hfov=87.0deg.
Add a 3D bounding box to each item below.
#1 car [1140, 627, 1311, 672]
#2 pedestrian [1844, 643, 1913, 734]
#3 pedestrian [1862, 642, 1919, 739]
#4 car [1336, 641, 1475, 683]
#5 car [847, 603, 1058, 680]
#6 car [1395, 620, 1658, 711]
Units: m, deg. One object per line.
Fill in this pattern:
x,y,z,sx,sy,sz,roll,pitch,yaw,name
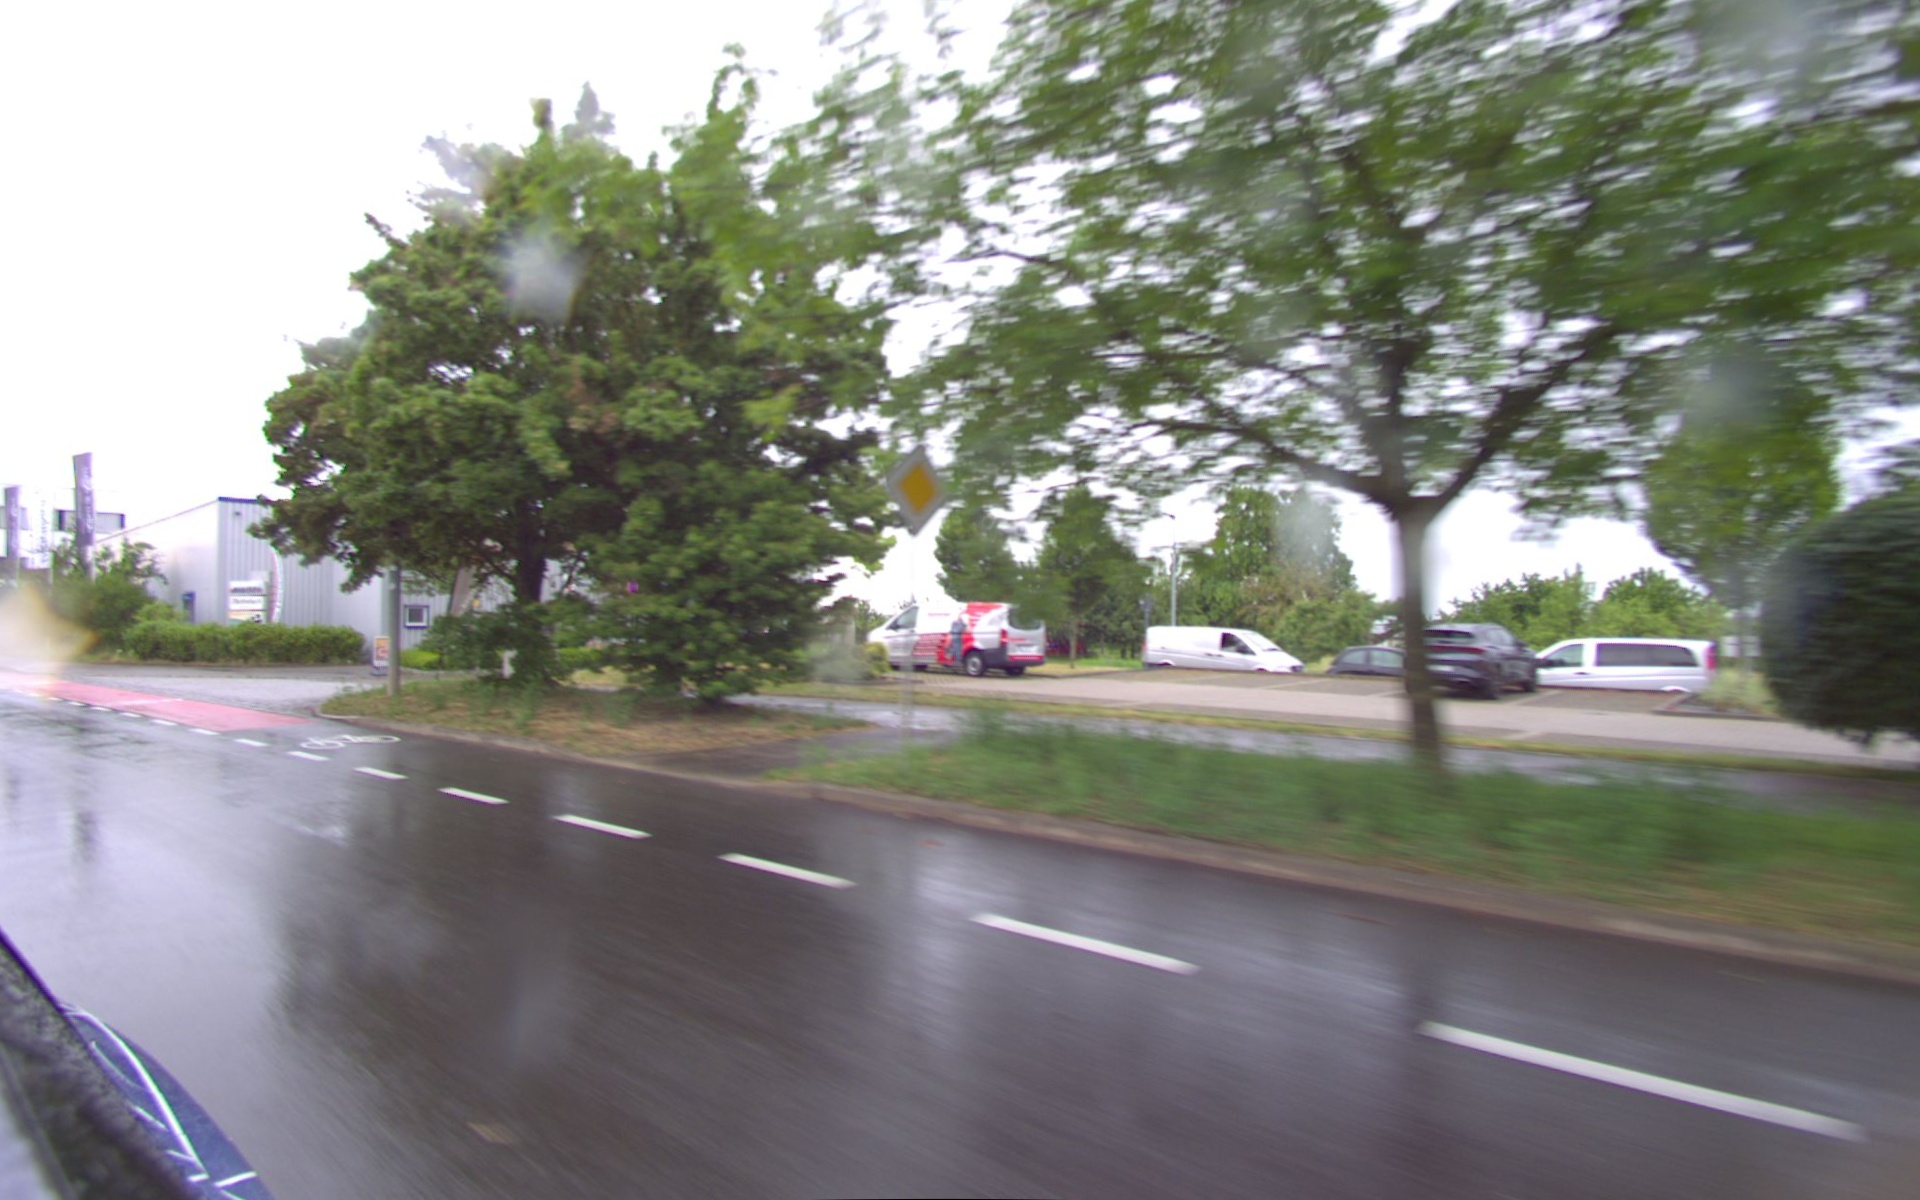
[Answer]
8.065,1.490,30.966,4.654,1.239,1.961,-3,-2,41,car
19.346,1.859,21.336,0.758,1.851,0.682,-2,-1,11,pedestrian
18.465,1.776,20.029,0.764,1.851,0.676,-2,-2,35,pedestrian
11.954,1.656,27.257,3.171,1.032,1.340,-3,-2,41,car
-0.318,1.088,26.702,5.605,1.836,2.013,-3,-2,41,car
11.154,1.204,20.100,2.090,1.568,4.169,0,-1,-45,car
